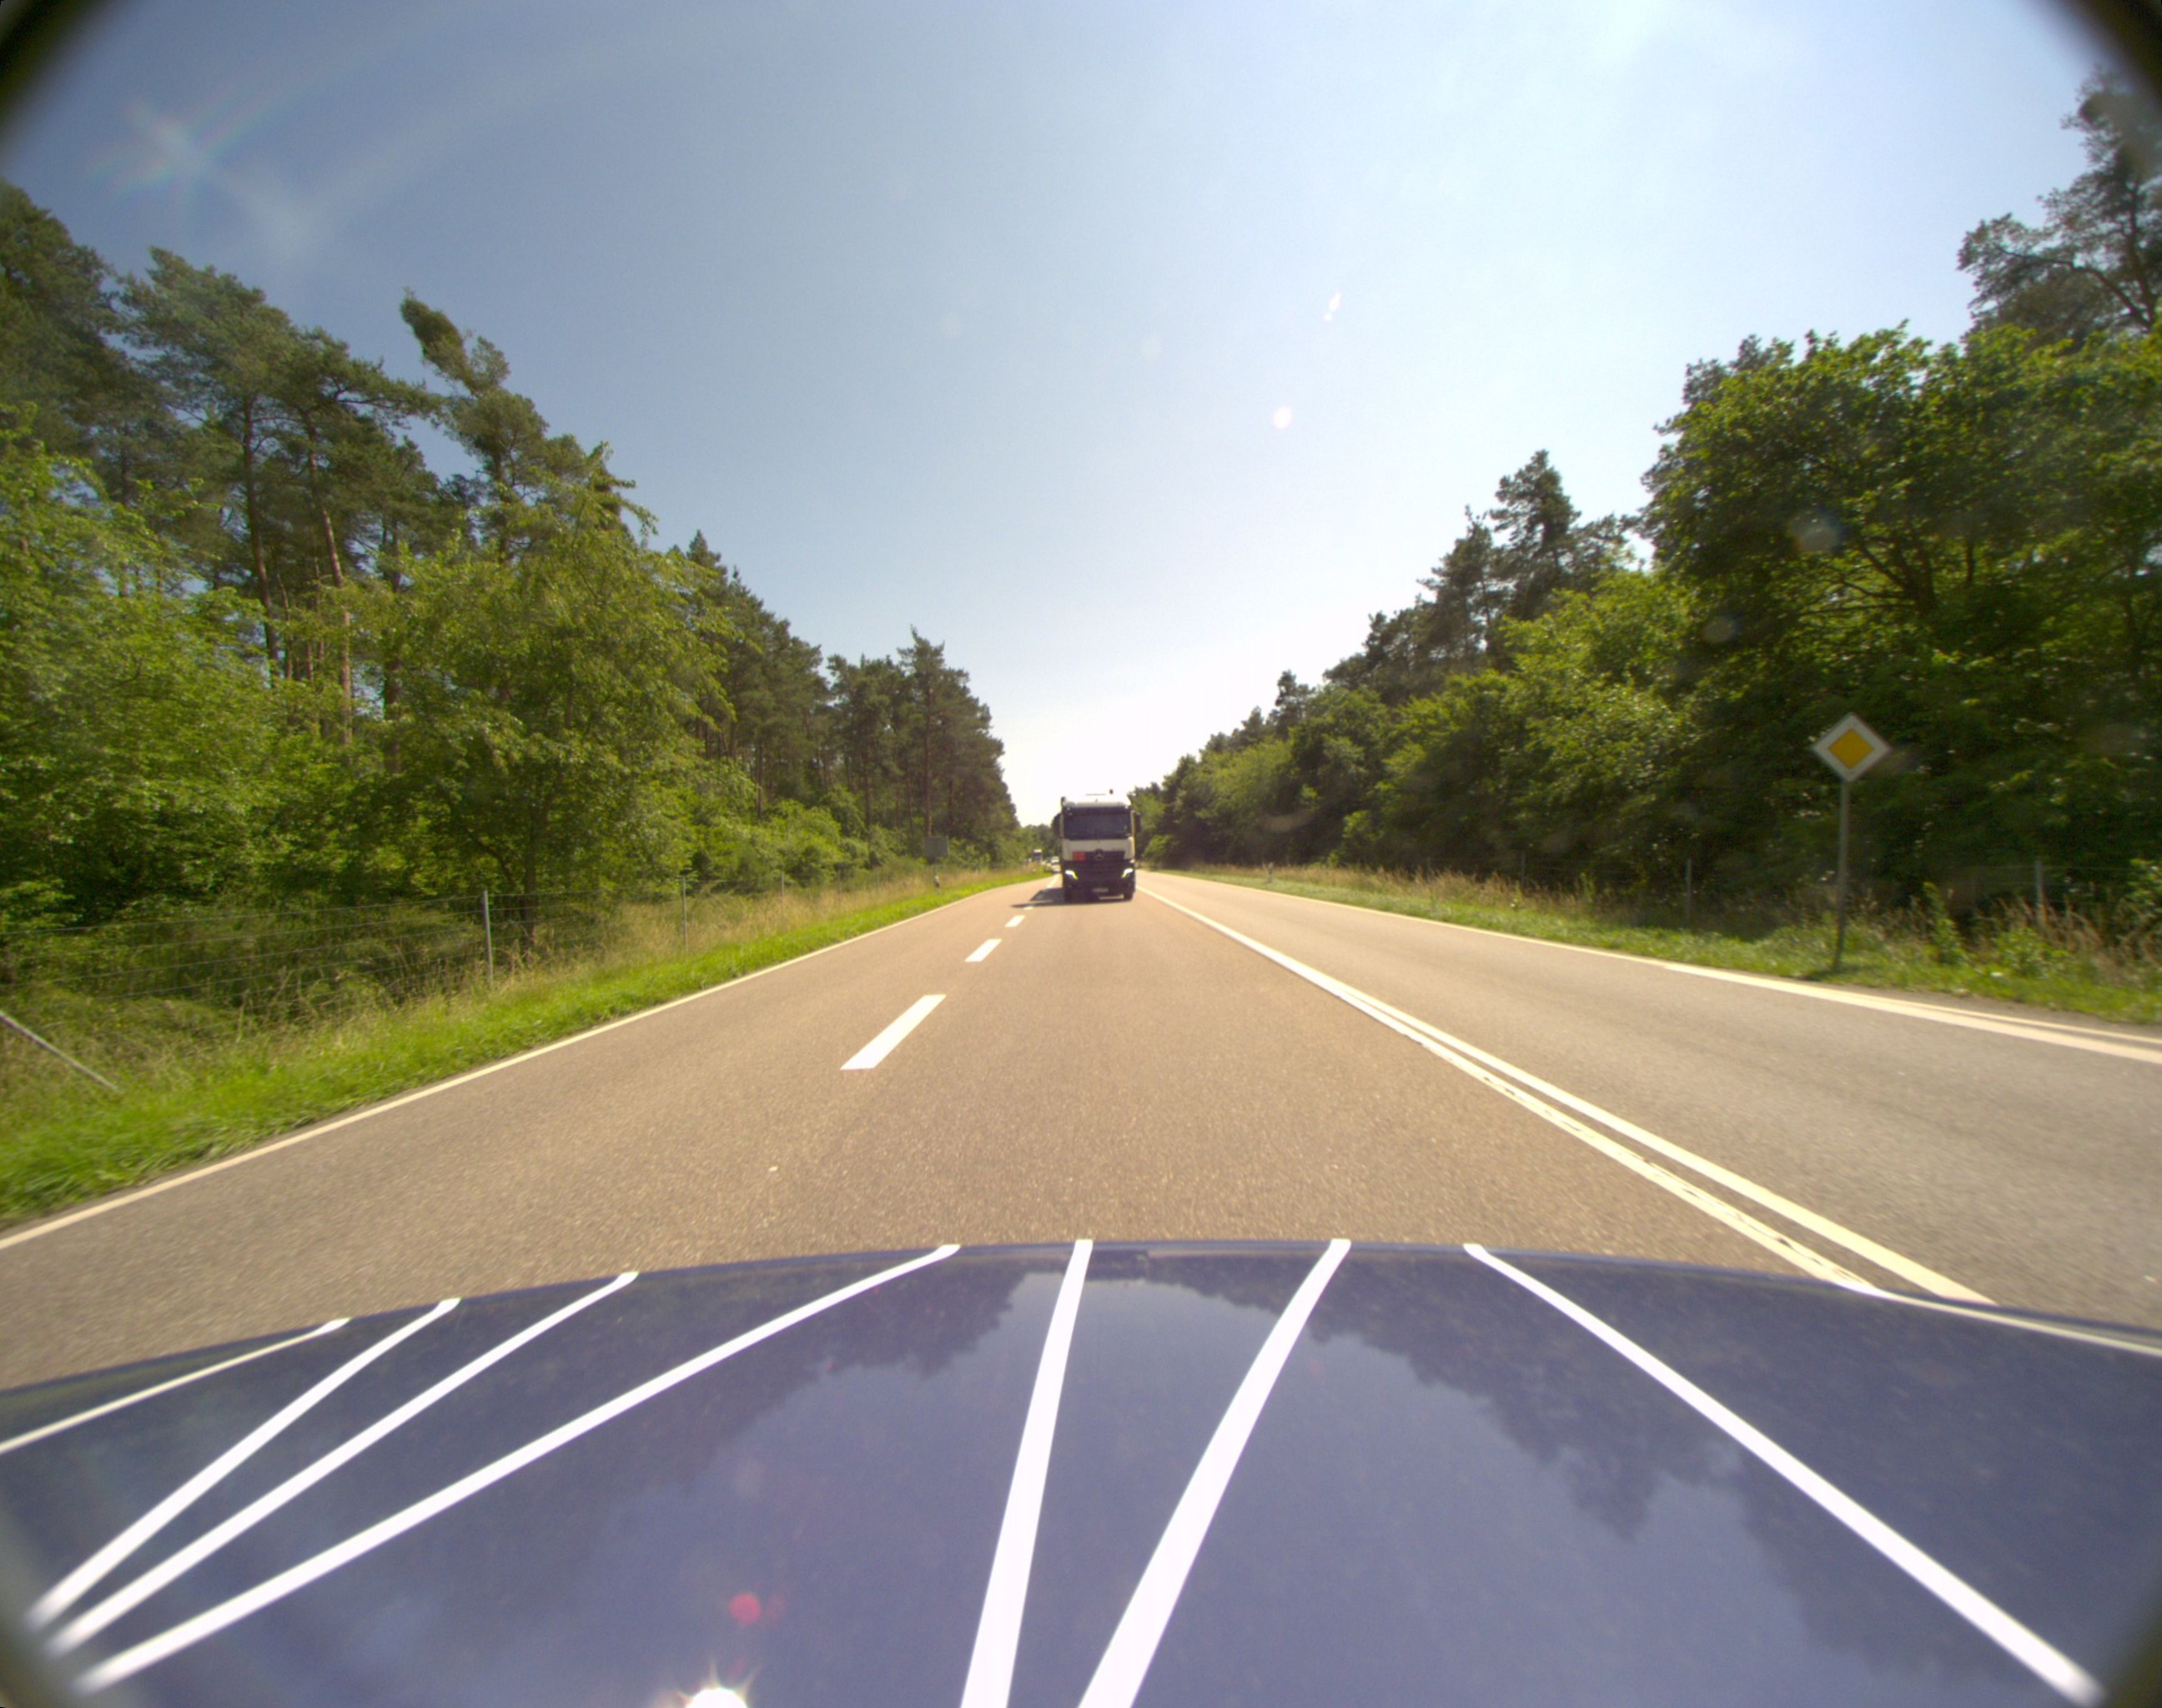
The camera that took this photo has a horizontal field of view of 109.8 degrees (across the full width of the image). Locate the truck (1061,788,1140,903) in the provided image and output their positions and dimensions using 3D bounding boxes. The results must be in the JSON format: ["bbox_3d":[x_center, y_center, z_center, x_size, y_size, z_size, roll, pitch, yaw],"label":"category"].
[{"bbox_3d":[0.606,-0.271,28.544,2.435,3.672,6.456,-3,0,-1],"label":"truck"}]

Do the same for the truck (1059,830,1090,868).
[{"bbox_3d":[-0.724,-0.514,78.034,2.495,3.698,6.221,0,0,-7],"label":"truck"}]

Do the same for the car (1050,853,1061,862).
[{"bbox_3d":[-4.858,0.664,144.329,1.885,1.461,3.999,-2,0,-3],"label":"car"}]

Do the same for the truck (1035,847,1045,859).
[{"bbox_3d":[-12.826,-0.398,237.721,2.495,3.619,6.100,-2,0,-7],"label":"truck"}]

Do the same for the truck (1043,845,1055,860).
[{"bbox_3d":[-8.205,-0.406,193.630,2.495,3.619,6.100,-2,0,-7],"label":"truck"}]
